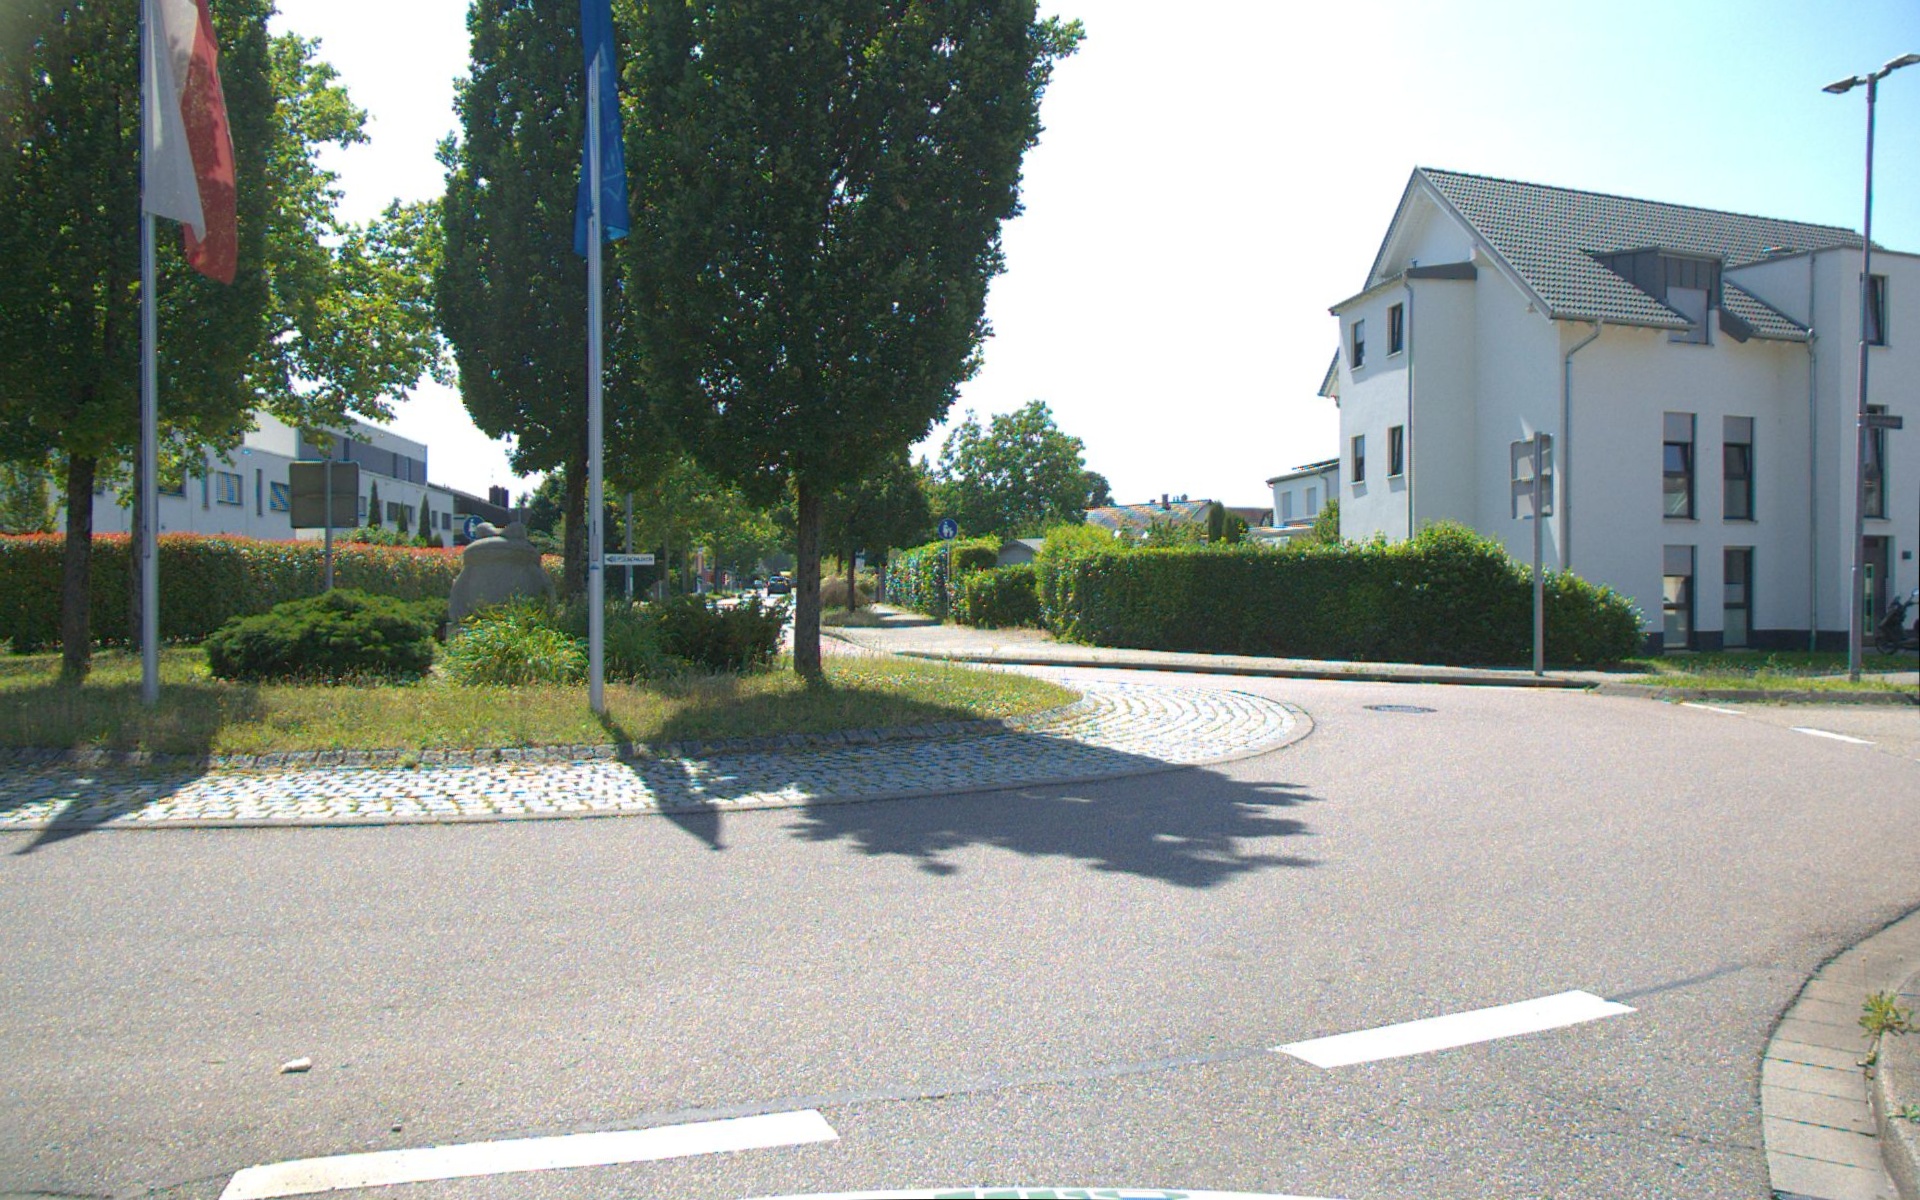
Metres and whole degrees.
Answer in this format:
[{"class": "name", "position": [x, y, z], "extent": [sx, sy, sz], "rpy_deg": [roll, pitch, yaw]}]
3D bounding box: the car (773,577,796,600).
[{"class": "car", "position": [-14.772, -0.944, 139.578], "extent": [1.886, 1.919, 3.995], "rpy_deg": [1, 0, -6]}]

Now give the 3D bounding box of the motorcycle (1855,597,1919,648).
[{"class": "motorcycle", "position": [20.062, 0.482, 34.714], "extent": [0.660, 1.031, 2.353], "rpy_deg": [2, 0, -22]}]

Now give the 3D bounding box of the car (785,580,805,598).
[{"class": "car", "position": [-16.777, -1.098, 167.919], "extent": [1.955, 1.801, 3.996], "rpy_deg": [1, 0, -5]}]
